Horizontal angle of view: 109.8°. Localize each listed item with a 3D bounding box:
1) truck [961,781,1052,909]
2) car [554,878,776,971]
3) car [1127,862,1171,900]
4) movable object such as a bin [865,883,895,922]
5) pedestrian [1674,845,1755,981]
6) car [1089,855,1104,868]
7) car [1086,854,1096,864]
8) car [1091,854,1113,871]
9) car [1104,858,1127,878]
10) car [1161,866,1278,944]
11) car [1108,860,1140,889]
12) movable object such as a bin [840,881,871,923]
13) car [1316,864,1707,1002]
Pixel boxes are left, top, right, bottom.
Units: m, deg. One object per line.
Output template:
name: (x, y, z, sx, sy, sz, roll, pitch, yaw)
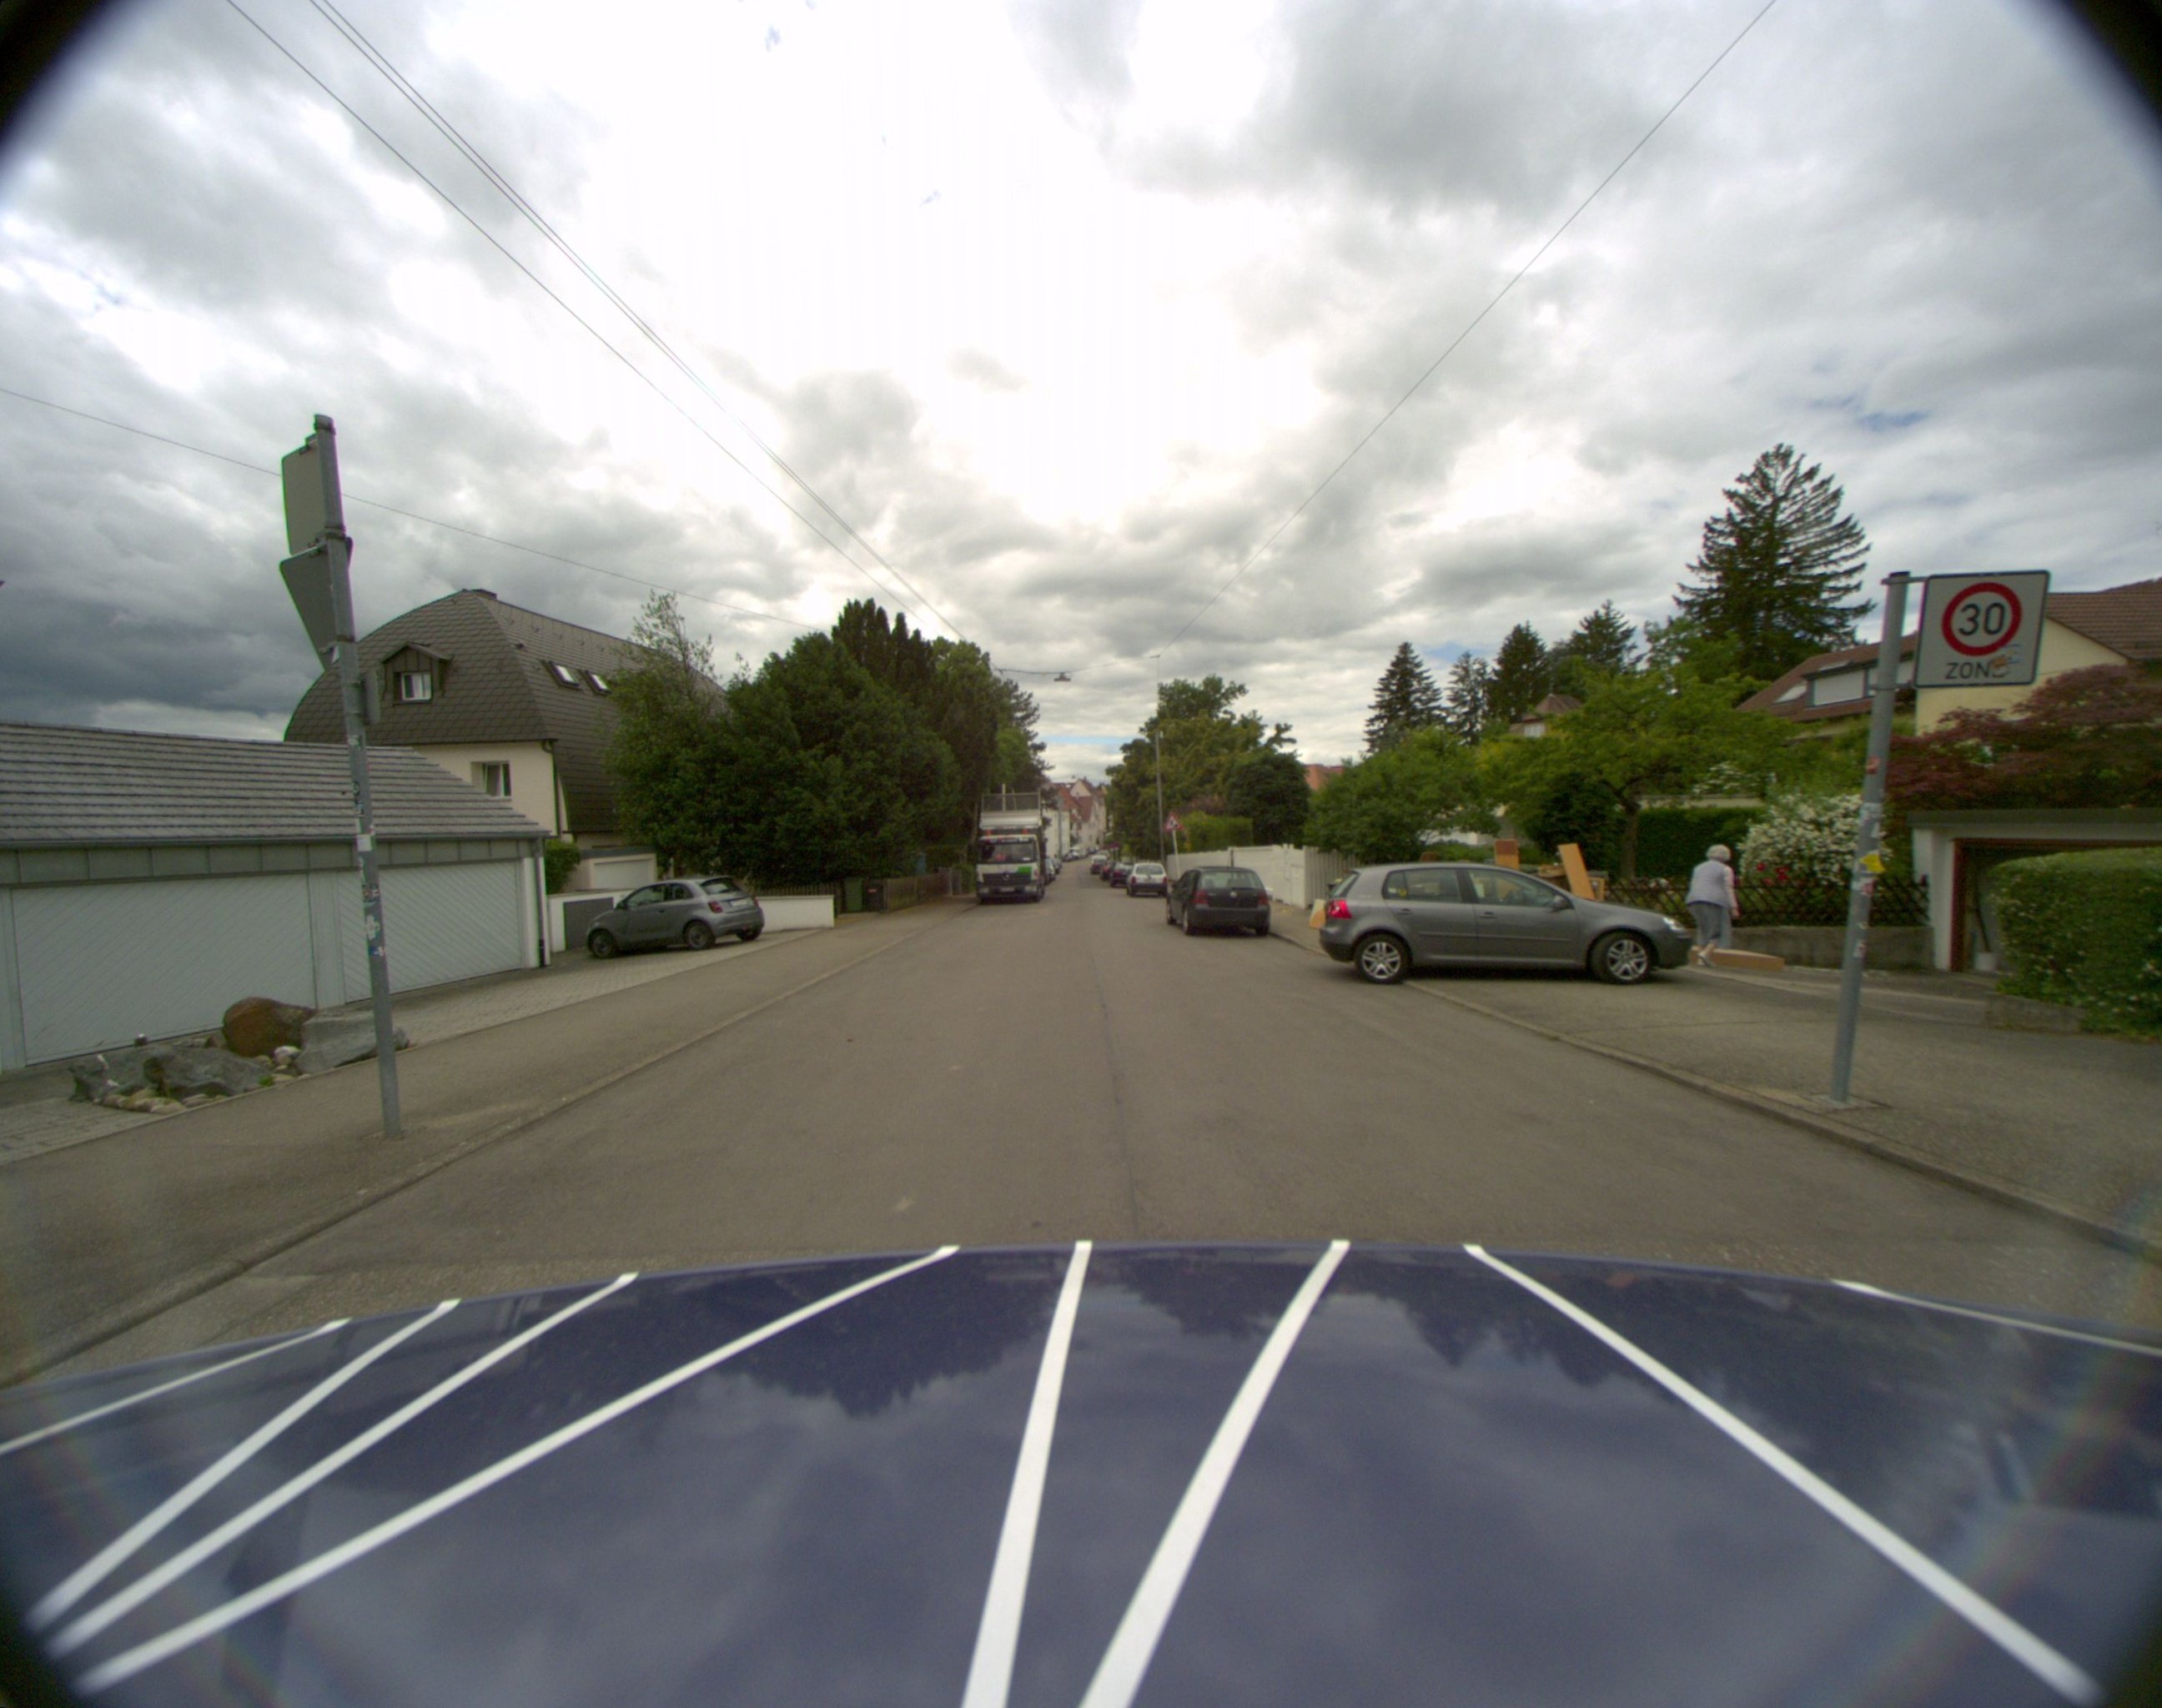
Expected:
truck: (-2.809, -0.322, 31.214, 3.153, 4.524, 7.951, -1, 0, -2)
car: (-8.753, 1.470, 16.086, 3.853, 1.488, 1.694, -6, 0, 13)
car: (2.878, 1.116, 32.793, 1.620, 1.460, 3.312, 1, 1, 0)
movable object such as a bin: (-6.067, 1.451, 22.948, 0.599, 1.098, 0.952, -4, -2, -3)
pedestrian: (8.752, 0.783, 10.502, 0.614, 1.794, 0.645, -2, 1, -28)
car: (1.737, 0.824, 85.419, 1.620, 1.460, 3.312, 1, 1, 0)
car: (1.356, 0.695, 105.792, 1.424, 1.277, 3.312, 1, 1, 0)
car: (2.173, 0.863, 79.233, 1.888, 1.746, 3.702, -2, 1, -3)
car: (2.556, 1.039, 57.009, 1.538, 1.460, 3.313, 1, -1, 0)
car: (2.893, 1.020, 16.628, 1.758, 1.435, 3.802, 1, 0, -2)
car: (2.368, 1.135, 42.899, 1.620, 1.460, 3.312, 1, 1, 0)
movable object such as a bin: (-6.768, 1.425, 22.796, 0.599, 1.200, 0.952, -4, -2, -3)
car: (5.114, 0.939, 9.654, 3.992, 1.454, 1.740, -2, 0, 18)
